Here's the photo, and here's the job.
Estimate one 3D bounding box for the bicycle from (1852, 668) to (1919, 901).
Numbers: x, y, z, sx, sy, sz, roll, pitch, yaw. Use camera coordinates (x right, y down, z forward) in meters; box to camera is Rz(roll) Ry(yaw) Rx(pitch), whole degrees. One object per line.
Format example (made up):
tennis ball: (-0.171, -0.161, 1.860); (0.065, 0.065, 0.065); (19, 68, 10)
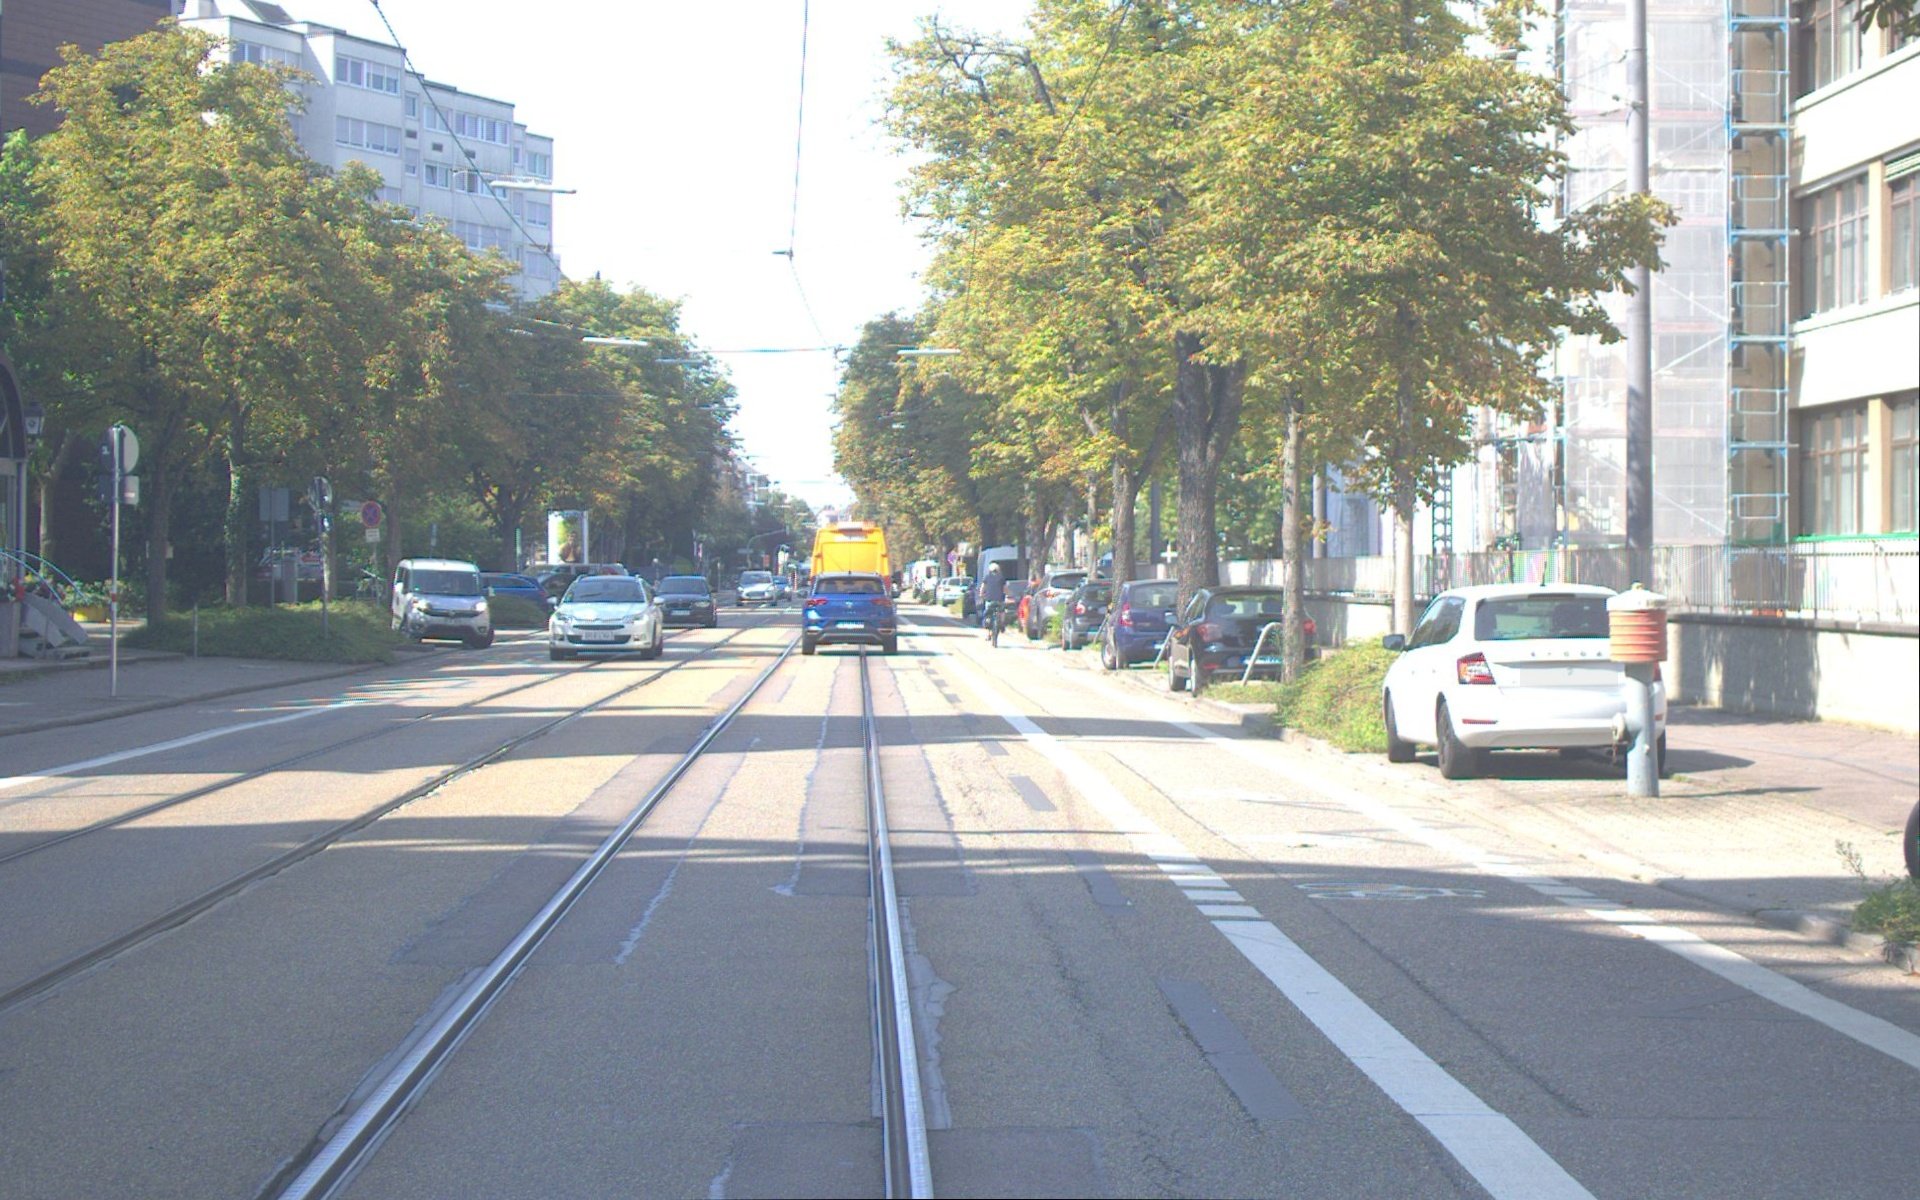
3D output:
bicycle: (4.797, 0.788, 14.681); (1.812, 0.955, 0.558); (1, 0, -1)

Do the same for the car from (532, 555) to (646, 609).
car: (-14.008, -0.678, 129.953); (3.989, 2.007, 1.856); (0, 1, -44)

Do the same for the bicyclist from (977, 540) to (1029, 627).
bicyclist: (0.912, -0.353, 72.882); (1.031, 1.806, 1.016); (1, 0, -2)

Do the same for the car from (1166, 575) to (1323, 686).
car: (3.740, 0.375, 45.808); (1.659, 1.403, 4.217); (0, 0, -1)

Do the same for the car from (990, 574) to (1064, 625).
car: (1.946, -0.040, 101.050); (1.908, 1.427, 4.293); (1, 1, -3)

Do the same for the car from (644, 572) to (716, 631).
car: (-7.650, 0.023, 94.220); (1.681, 1.566, 4.206); (1, 1, -1)

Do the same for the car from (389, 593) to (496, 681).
car: (-11.159, 0.777, 73.914); (1.746, 1.790, 4.001); (1, 0, -16)

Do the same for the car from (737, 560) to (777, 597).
car: (-9.474, -1.006, 160.981); (1.780, 1.678, 4.348); (1, 0, -3)

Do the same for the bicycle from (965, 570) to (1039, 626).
bicycle: (0.872, -0.055, 72.902); (1.401, 1.130, 4.000); (0, 1, -2)

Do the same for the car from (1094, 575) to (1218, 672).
car: (3.237, 0.369, 57.352); (1.743, 1.550, 4.217); (0, 0, -1)

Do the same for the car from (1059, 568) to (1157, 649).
car: (3.003, 0.154, 70.448); (1.633, 1.579, 4.189); (1, 1, -3)

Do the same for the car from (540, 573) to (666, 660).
car: (-6.382, 0.260, 61.897); (1.846, 1.486, 4.867); (0, 1, -1)

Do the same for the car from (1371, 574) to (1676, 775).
car: (4.404, 0.537, 27.434); (1.659, 1.476, 4.217); (0, 0, -1)

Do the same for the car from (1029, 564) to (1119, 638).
car: (2.642, 0.003, 80.537); (1.740, 1.662, 4.362); (1, 1, -3)

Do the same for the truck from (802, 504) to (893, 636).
truck: (-2.749, -0.747, 84.754); (2.135, 3.114, 6.085); (0, 1, -1)

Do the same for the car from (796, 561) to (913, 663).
car: (-1.997, 0.197, 65.811); (2.135, 1.852, 5.568); (0, 1, -1)

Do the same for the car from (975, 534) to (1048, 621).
car: (1.652, -0.748, 111.635); (1.993, 2.746, 5.762); (1, 1, -3)
